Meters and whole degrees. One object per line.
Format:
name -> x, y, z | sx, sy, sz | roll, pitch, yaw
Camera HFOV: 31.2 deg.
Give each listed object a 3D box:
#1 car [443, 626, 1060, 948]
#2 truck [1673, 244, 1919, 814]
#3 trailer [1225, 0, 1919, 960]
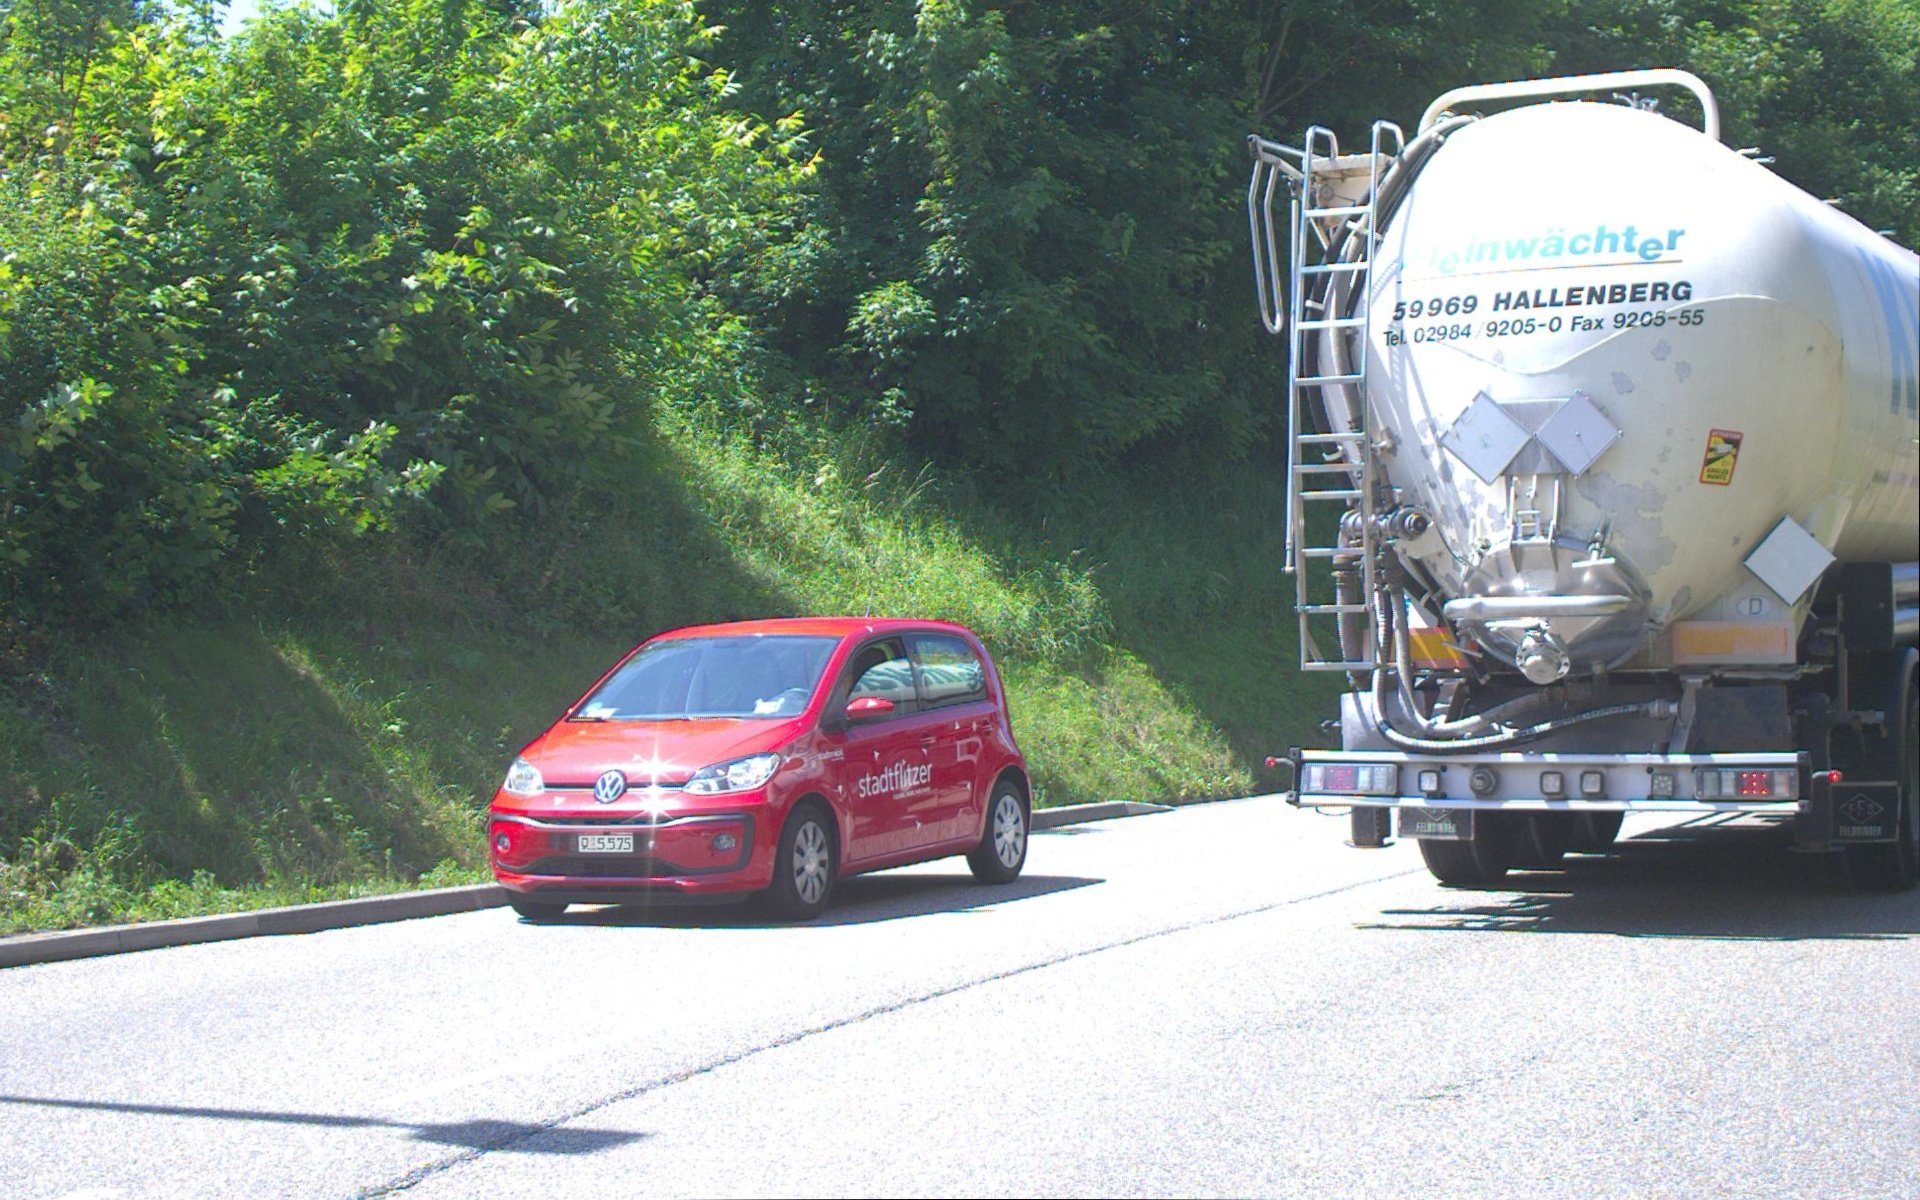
car -> -0.965, 0.888, 17.819 | 1.657, 1.453, 3.631 | -1, 0, 25
truck -> 7.870, -0.474, 27.004 | 2.731, 3.916, 7.253 | -1, -1, 26
trailer -> 4.820, -0.587, 20.403 | 2.664, 4.174, 11.889 | -1, 0, 23
